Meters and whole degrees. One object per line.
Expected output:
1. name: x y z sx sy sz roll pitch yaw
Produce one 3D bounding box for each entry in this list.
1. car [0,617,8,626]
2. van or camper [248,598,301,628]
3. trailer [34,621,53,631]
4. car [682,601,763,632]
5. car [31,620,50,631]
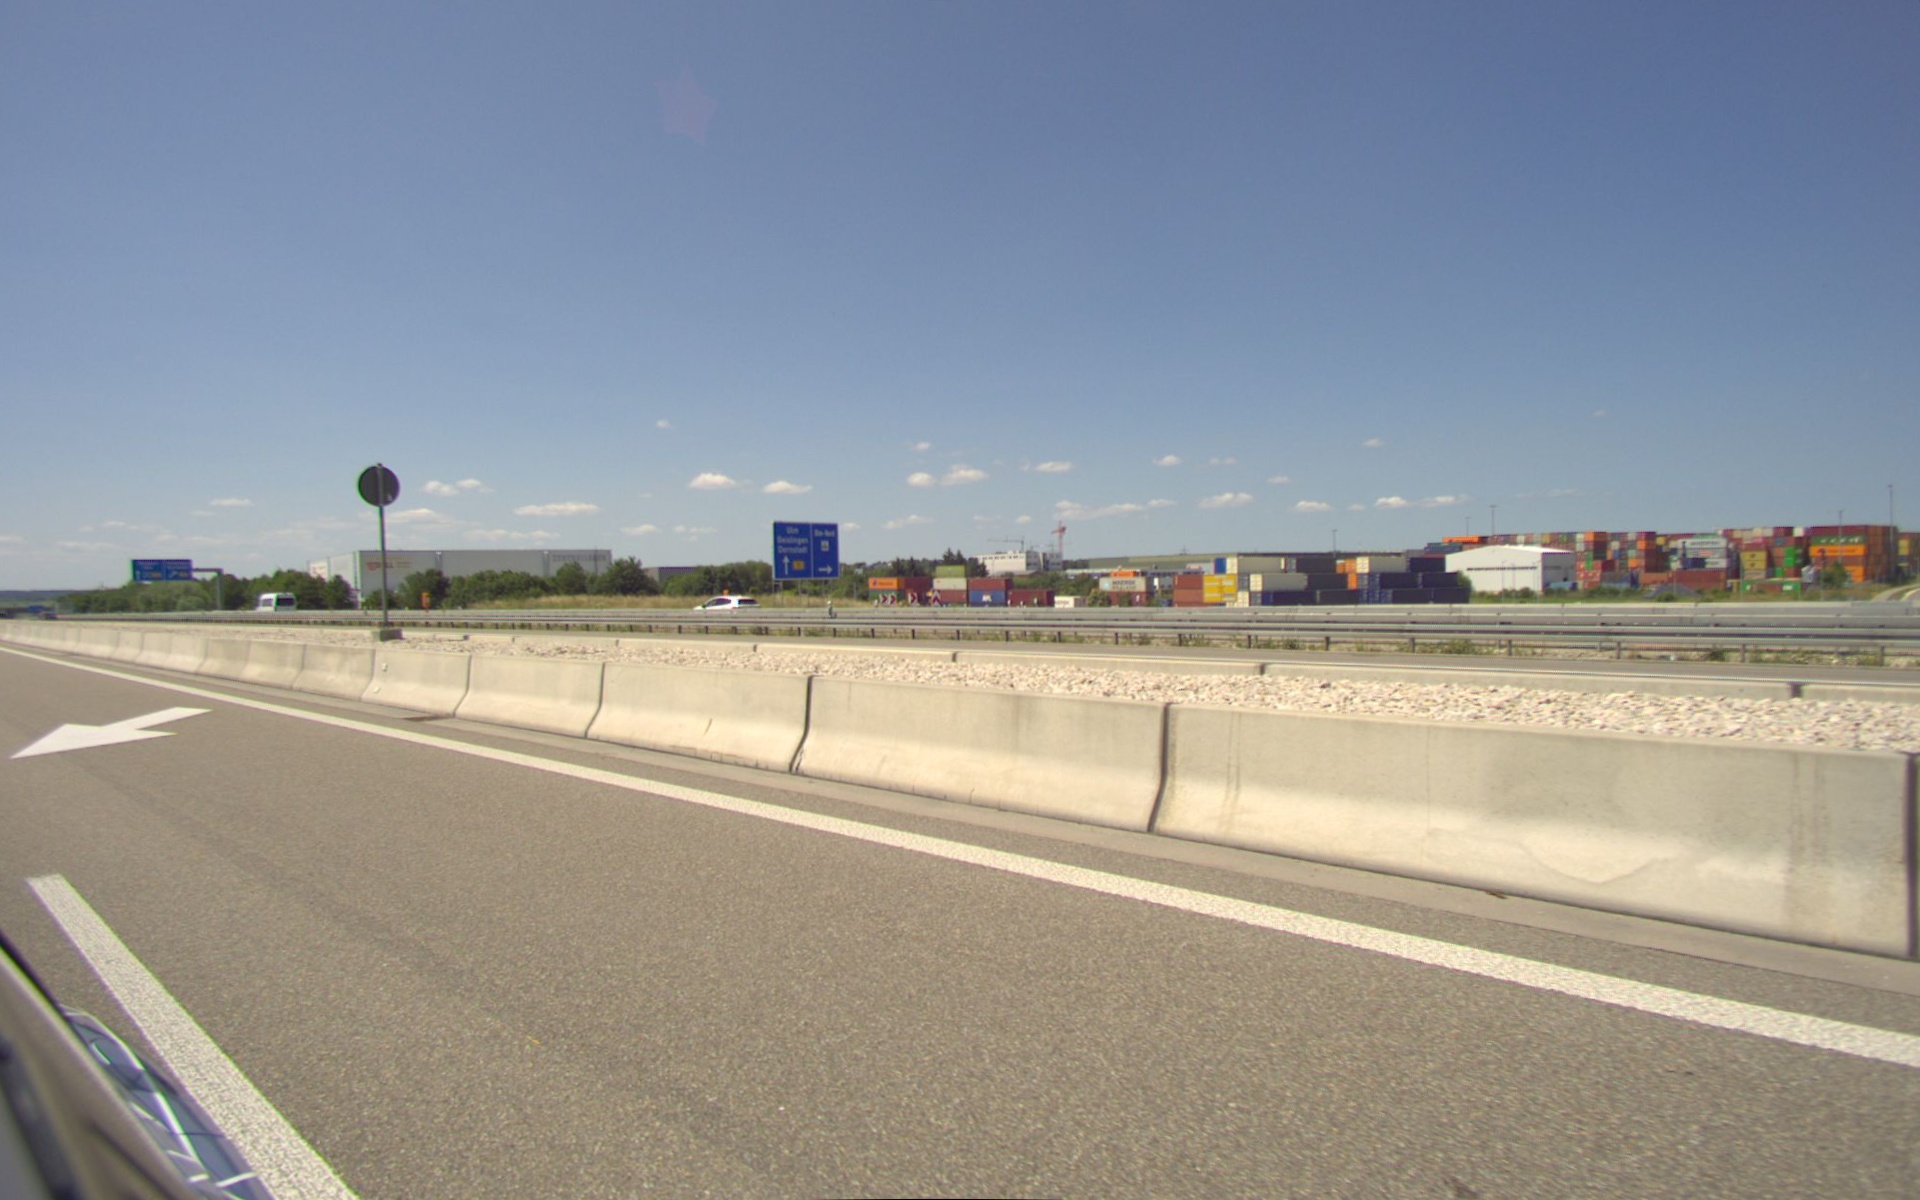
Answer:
1. car: -161.922 3.665 170.499 4.372 1.484 2.009 -1 0 44
2. van or camper: -67.997 1.318 100.289 7.539 2.843 2.519 -1 0 41
3. trailer: -135.403 3.812 149.498 3.683 1.446 1.736 -1 -1 43
4. car: -11.379 0.782 48.380 4.361 1.390 1.547 -1 0 42
5. car: -138.225 3.807 152.099 3.999 1.561 1.773 -1 0 42
